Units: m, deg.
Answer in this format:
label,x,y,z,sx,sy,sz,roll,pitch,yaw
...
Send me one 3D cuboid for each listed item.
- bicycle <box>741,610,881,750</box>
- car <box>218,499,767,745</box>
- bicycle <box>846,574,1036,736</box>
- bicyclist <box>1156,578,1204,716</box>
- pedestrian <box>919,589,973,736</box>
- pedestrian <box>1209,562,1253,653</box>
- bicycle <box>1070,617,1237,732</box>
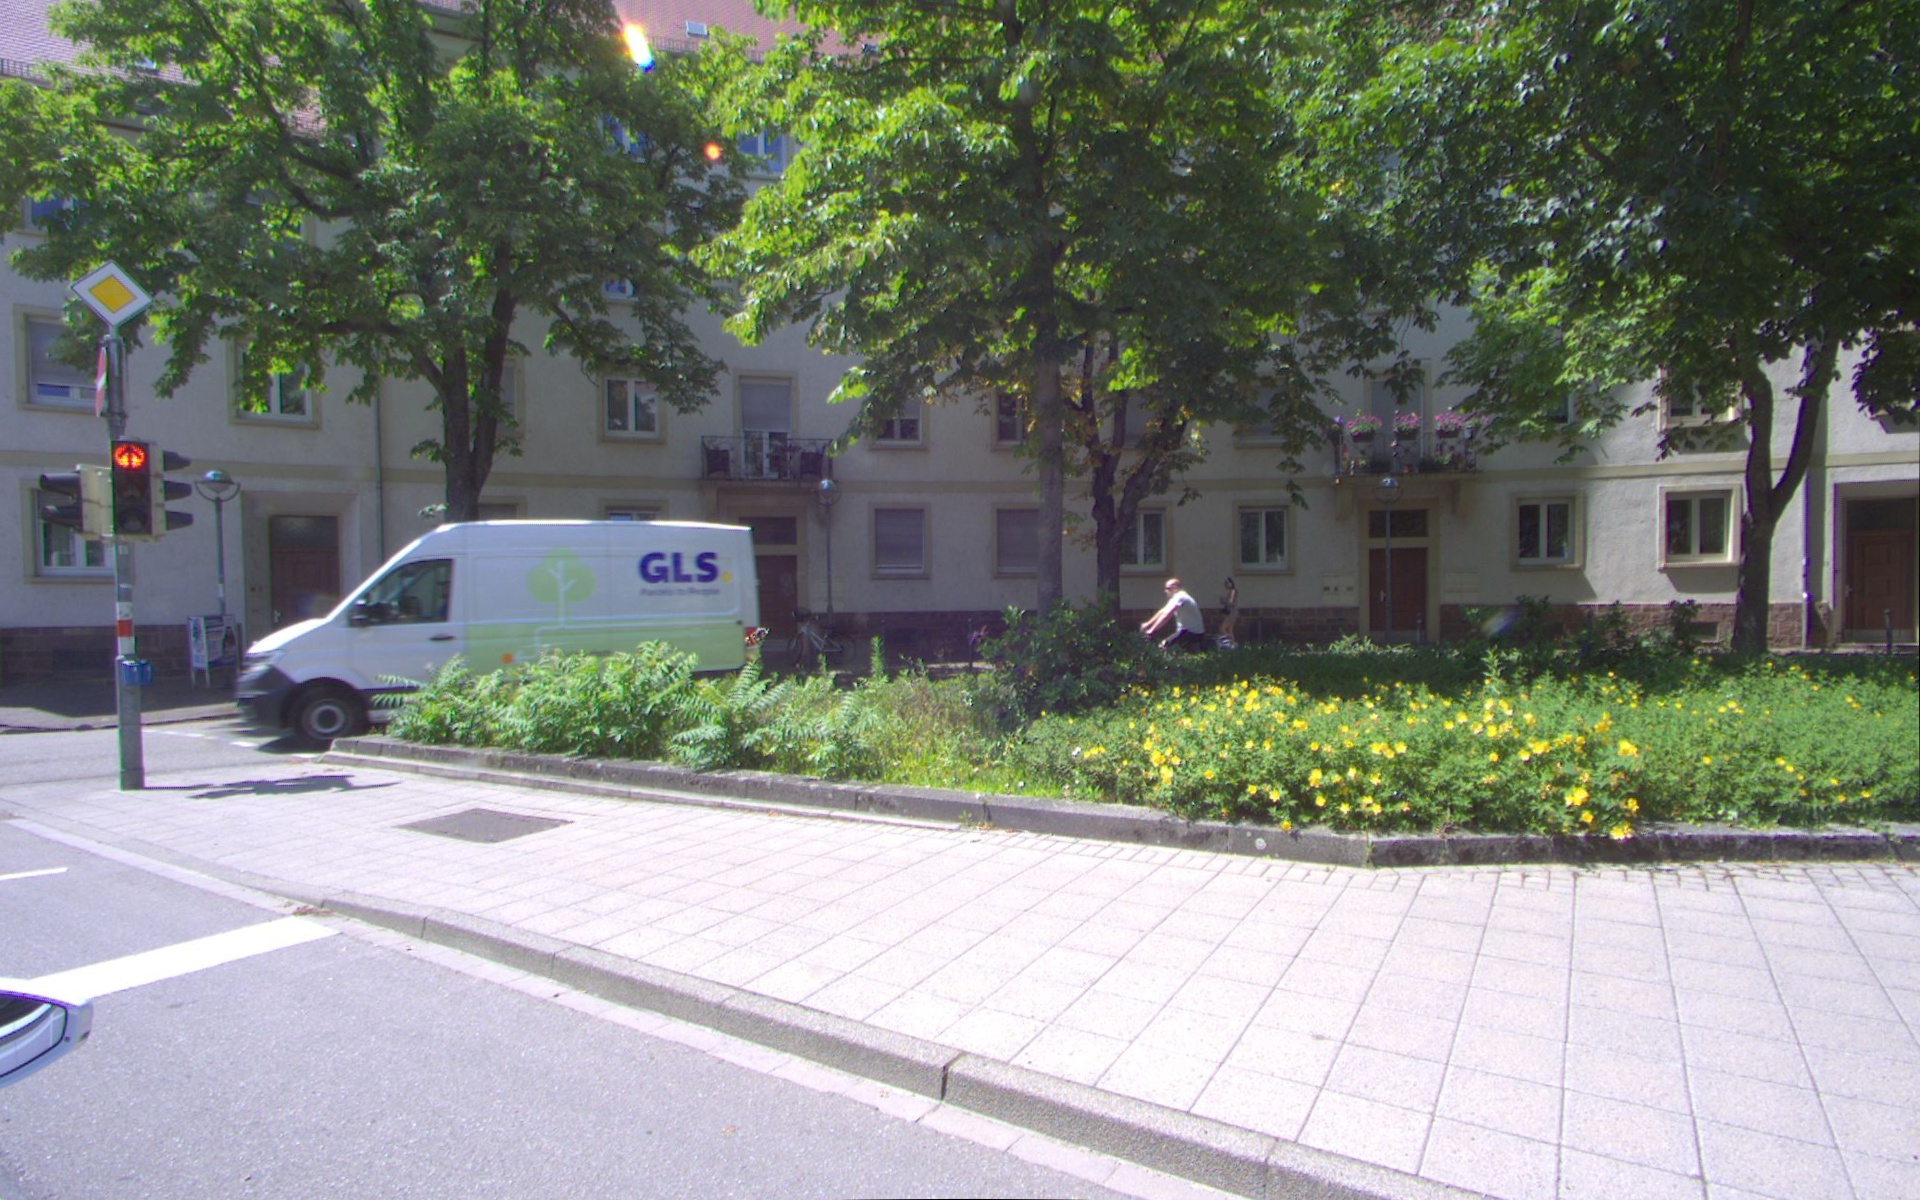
label,x,y,z,sx,sy,sz,roll,pitch,yaw
bicycle,-1.302,0.679,8.661,1.269,1.141,0.332,-2,-1,32
car,-5.428,0.220,12.491,5.747,2.624,1.996,-1,1,-17
bicycle,-0.208,0.503,9.141,1.809,1.377,0.351,-2,-1,32
bicyclist,2.968,0.625,13.550,0.524,1.823,0.604,-1,0,2
pedestrian,-0.125,0.556,9.093,0.345,1.301,0.365,-1,0,32
pedestrian,6.203,0.172,22.962,0.758,2.040,0.808,-1,0,0
bicycle,2.590,0.992,13.543,2.126,1.505,0.593,-1,0,1
